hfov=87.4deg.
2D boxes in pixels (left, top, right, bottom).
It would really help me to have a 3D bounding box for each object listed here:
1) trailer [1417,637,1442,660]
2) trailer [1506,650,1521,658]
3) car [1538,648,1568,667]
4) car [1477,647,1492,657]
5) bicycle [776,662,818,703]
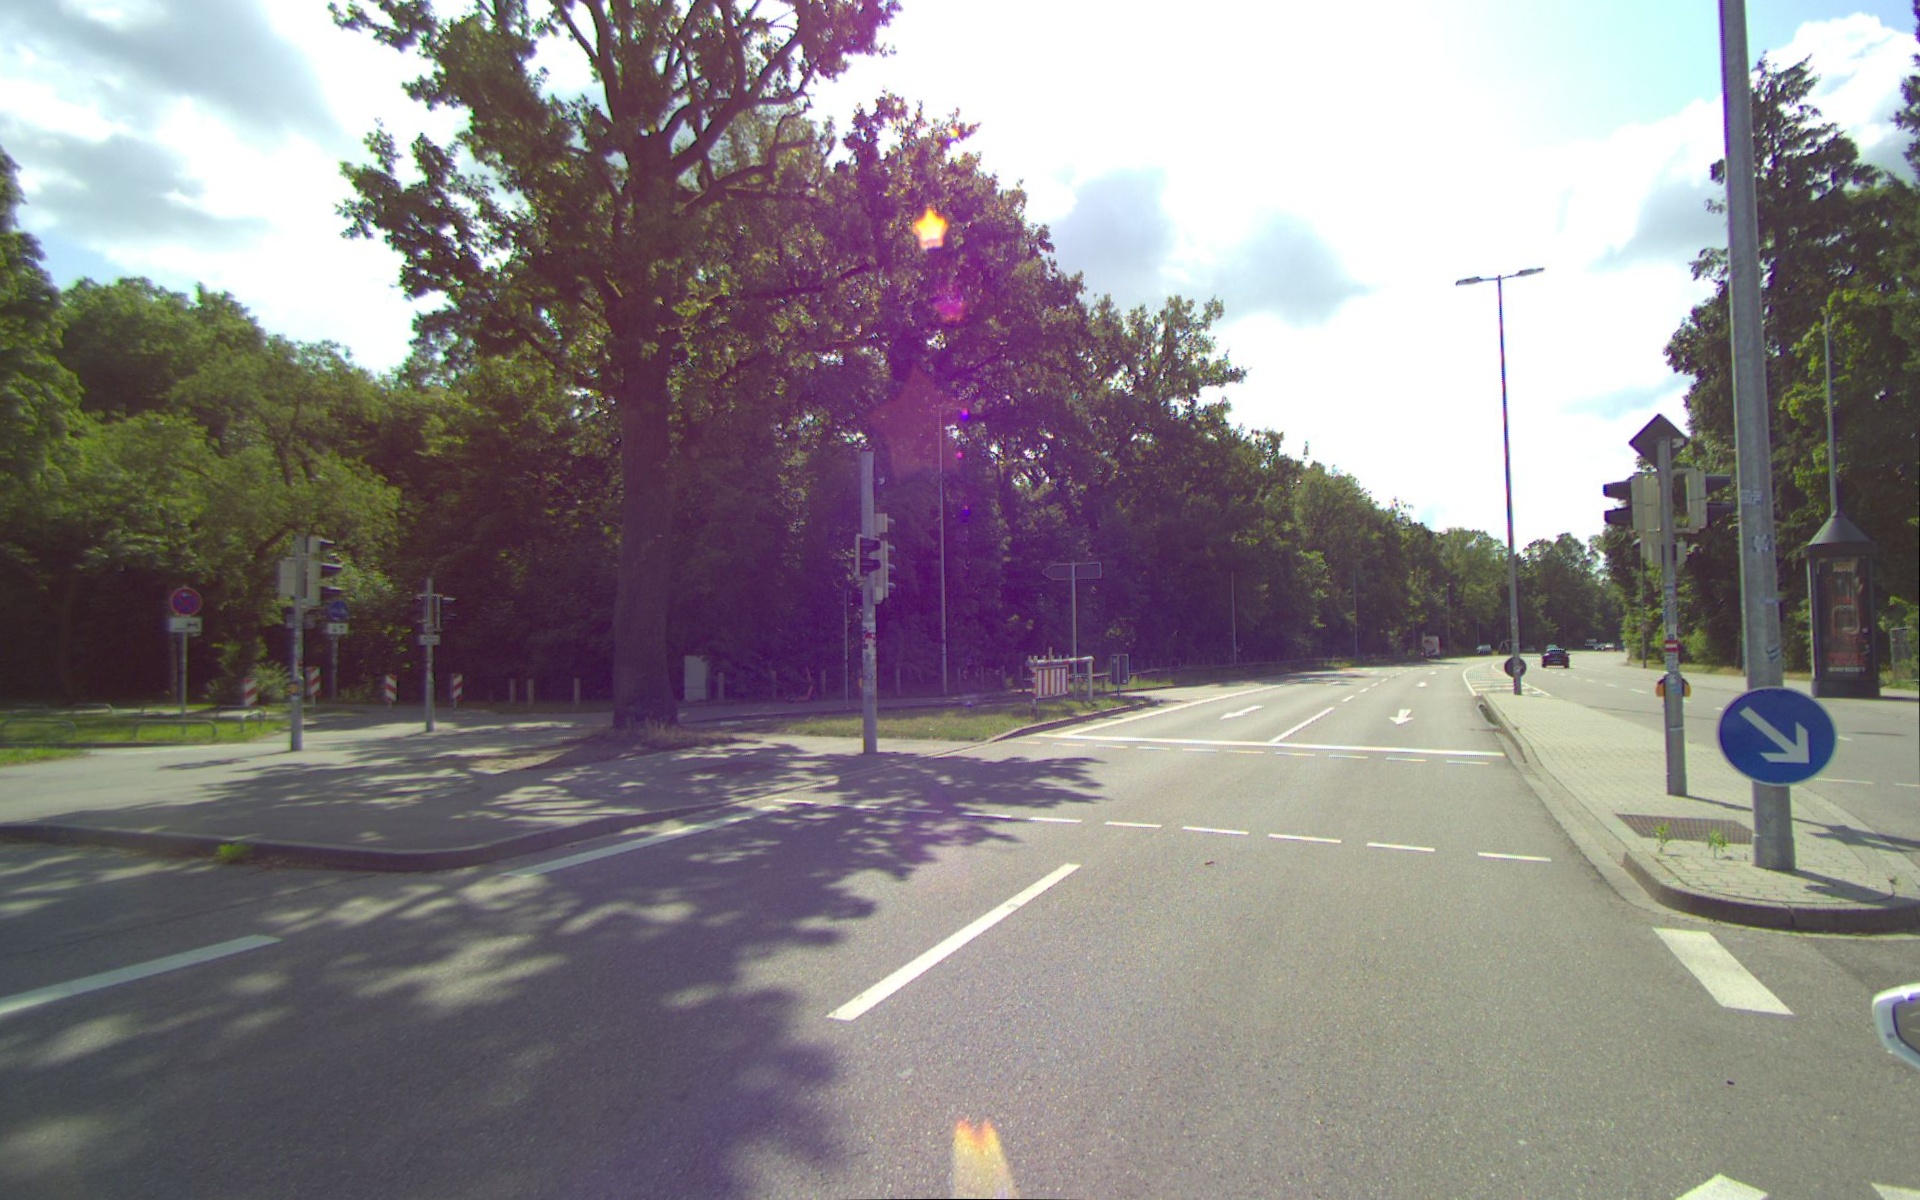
[{"bbox_3d":[51.656,5.363,110.445,1.966,2.420,3.991,-1,-3,32],"label":"trailer"},{"bbox_3d":[92.943,9.121,168.772,1.694,1.372,3.719,-2,-3,36],"label":"trailer"},{"bbox_3d":[45.145,4.381,76.506,1.572,1.396,3.973,-1,-3,25],"label":"car"},{"bbox_3d":[78.841,7.801,151.061,1.484,1.465,3.517,-2,-3,37],"label":"car"},{"bbox_3d":[-4.836,2.449,29.856,1.221,1.188,0.416,3,-4,-44],"label":"bicycle"}]
